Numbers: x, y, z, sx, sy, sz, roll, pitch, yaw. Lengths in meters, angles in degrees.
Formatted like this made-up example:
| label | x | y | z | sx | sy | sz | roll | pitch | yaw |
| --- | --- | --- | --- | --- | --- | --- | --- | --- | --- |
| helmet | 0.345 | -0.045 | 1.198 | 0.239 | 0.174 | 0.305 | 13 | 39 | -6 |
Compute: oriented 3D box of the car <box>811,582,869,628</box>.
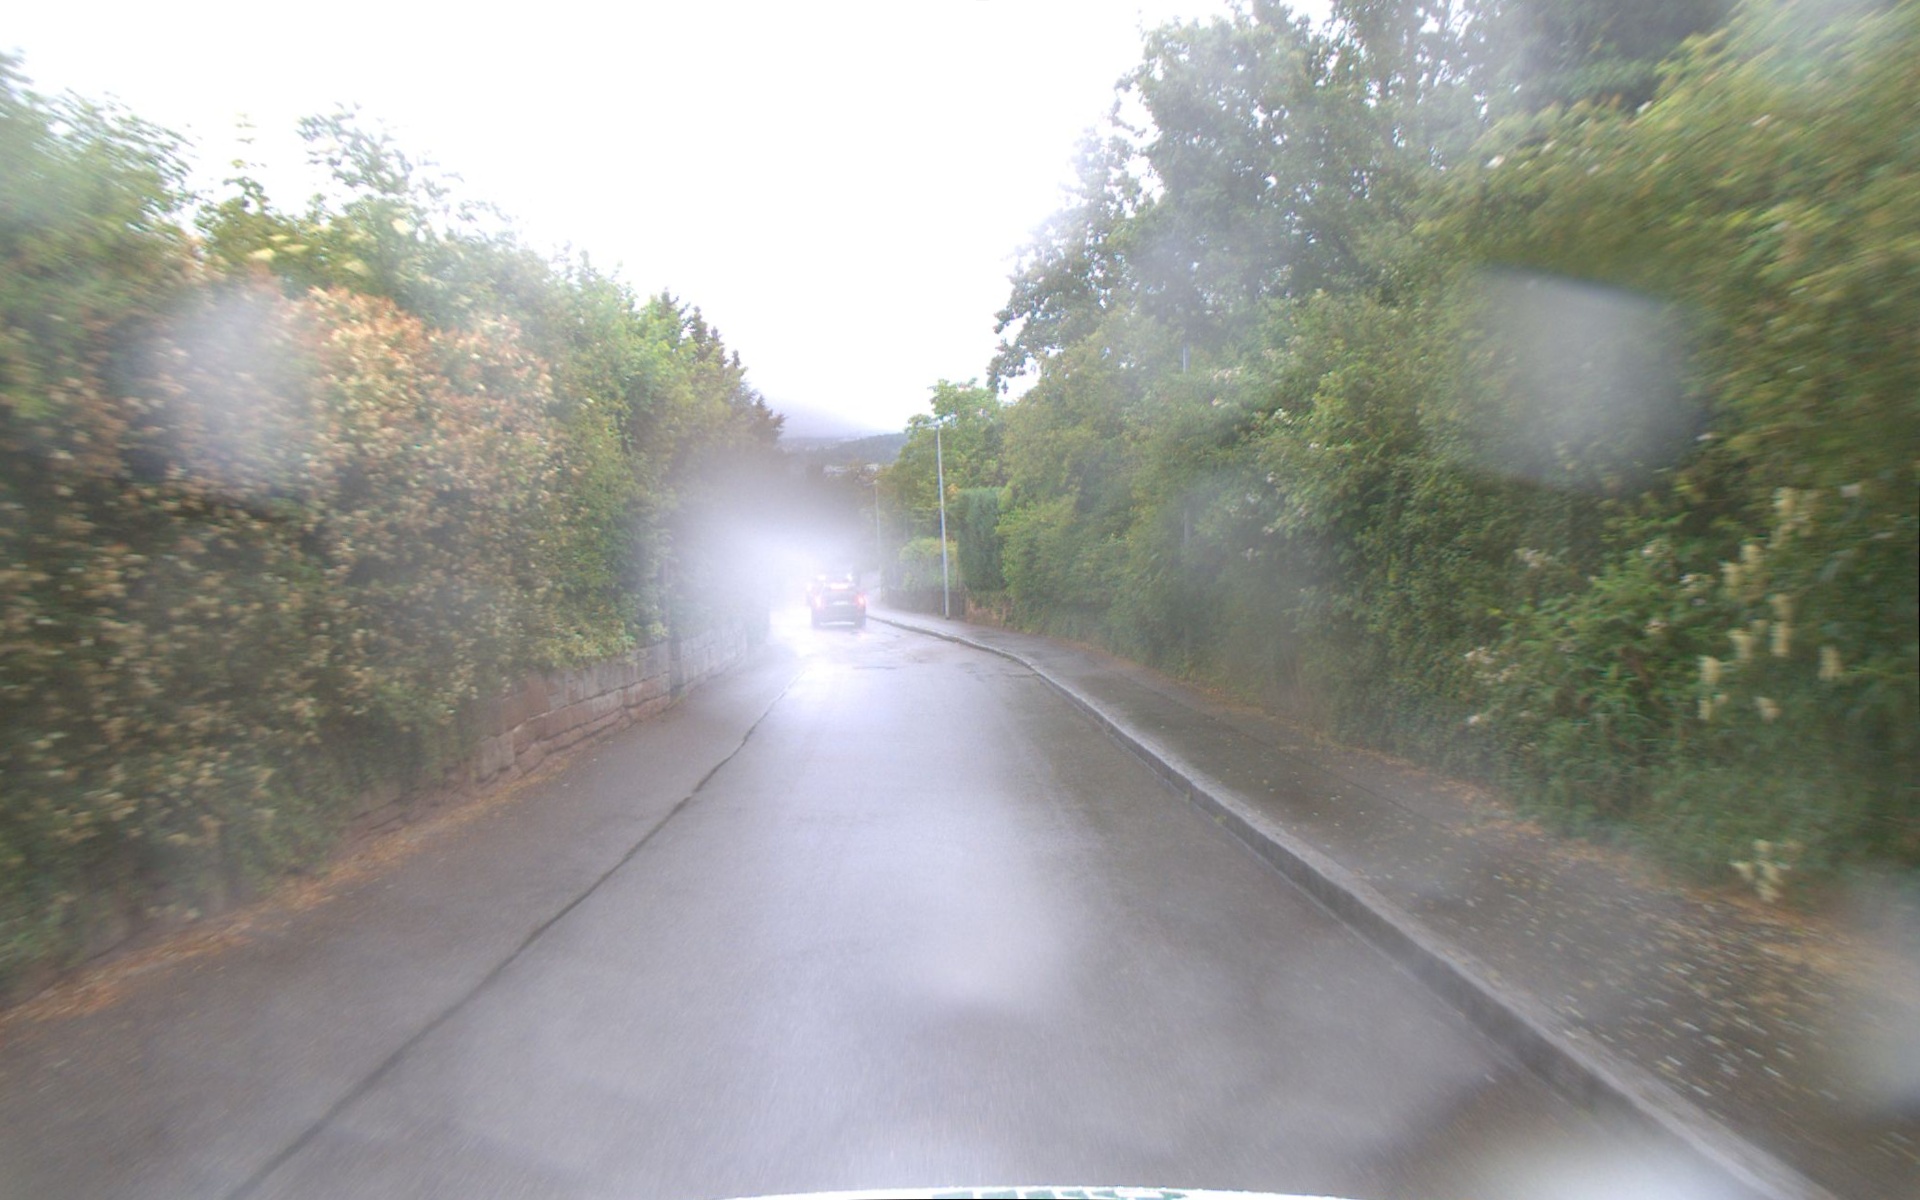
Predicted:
| label | x | y | z | sx | sy | sz | roll | pitch | yaw |
| --- | --- | --- | --- | --- | --- | --- | --- | --- | --- |
| car | -4.099 | 0.143 | 55.885 | 1.800 | 1.489 | 3.995 | 0 | 0 | -6 |

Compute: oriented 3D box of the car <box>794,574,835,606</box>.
| label | x | y | z | sx | sy | sz | roll | pitch | yaw |
| --- | --- | --- | --- | --- | --- | --- | --- | --- | --- |
| car | -7.759 | -0.552 | 88.506 | 1.643 | 1.592 | 3.797 | -1 | 2 | 3 |
